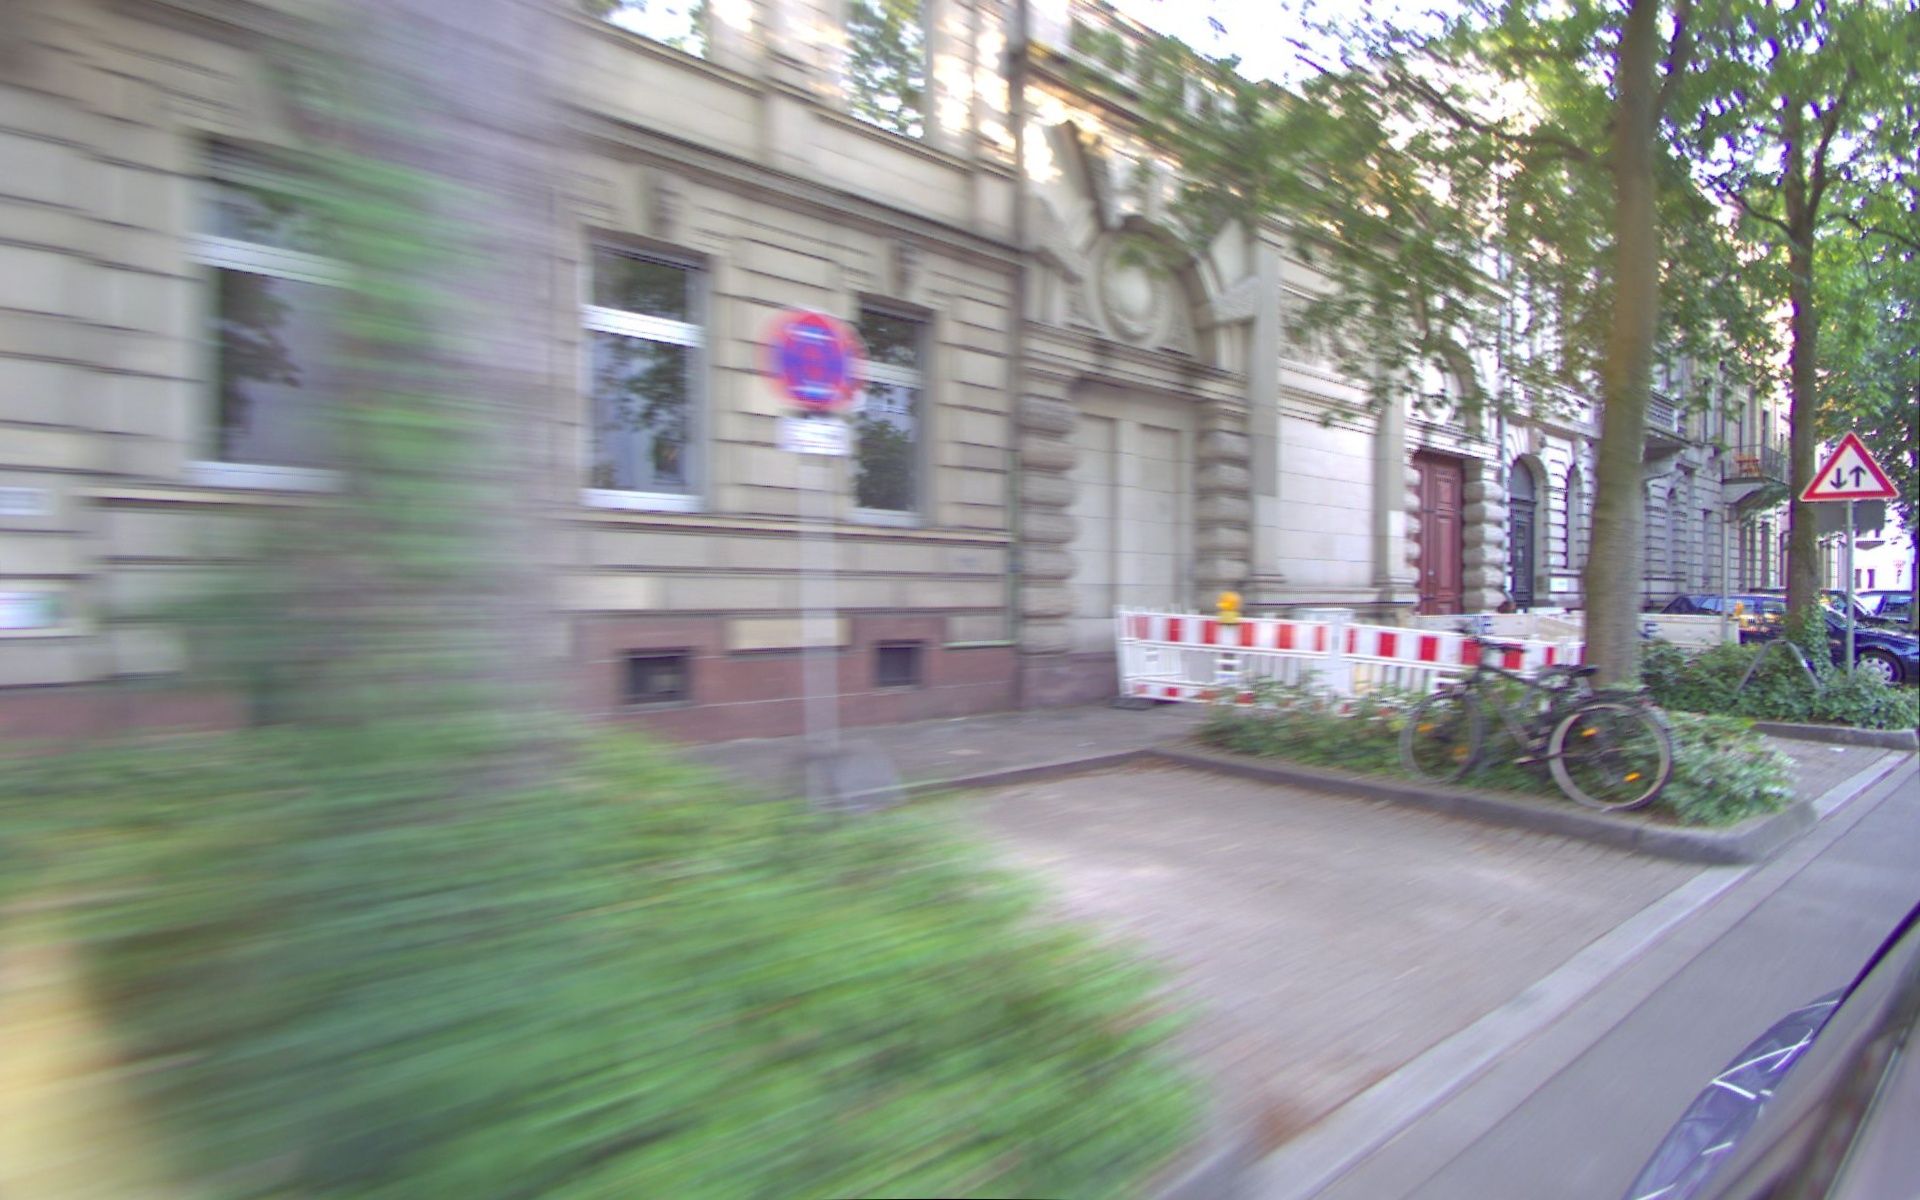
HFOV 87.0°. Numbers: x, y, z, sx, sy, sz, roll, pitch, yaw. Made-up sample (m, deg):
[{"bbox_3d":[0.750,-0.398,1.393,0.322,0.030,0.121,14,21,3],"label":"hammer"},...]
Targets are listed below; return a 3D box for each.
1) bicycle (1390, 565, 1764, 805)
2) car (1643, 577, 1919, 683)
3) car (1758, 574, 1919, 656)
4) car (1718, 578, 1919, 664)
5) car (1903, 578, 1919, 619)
[{"bbox_3d":[3.997,0.504,6.742,0.499,1.378,2.048,0,-1,-42],"label":"bicycle"},{"bbox_3d":[14.444,0.441,17.283,1.822,1.499,4.234,0,3,-40],"label":"car"},{"bbox_3d":[21.209,0.311,23.072,1.934,1.739,4.449,-1,3,-40],"label":"car"},{"bbox_3d":[19.061,0.403,21.850,1.734,1.708,4.016,0,1,-40],"label":"car"},{"bbox_3d":[39.164,0.060,38.502,1.830,1.580,4.431,1,3,-33],"label":"car"}]
